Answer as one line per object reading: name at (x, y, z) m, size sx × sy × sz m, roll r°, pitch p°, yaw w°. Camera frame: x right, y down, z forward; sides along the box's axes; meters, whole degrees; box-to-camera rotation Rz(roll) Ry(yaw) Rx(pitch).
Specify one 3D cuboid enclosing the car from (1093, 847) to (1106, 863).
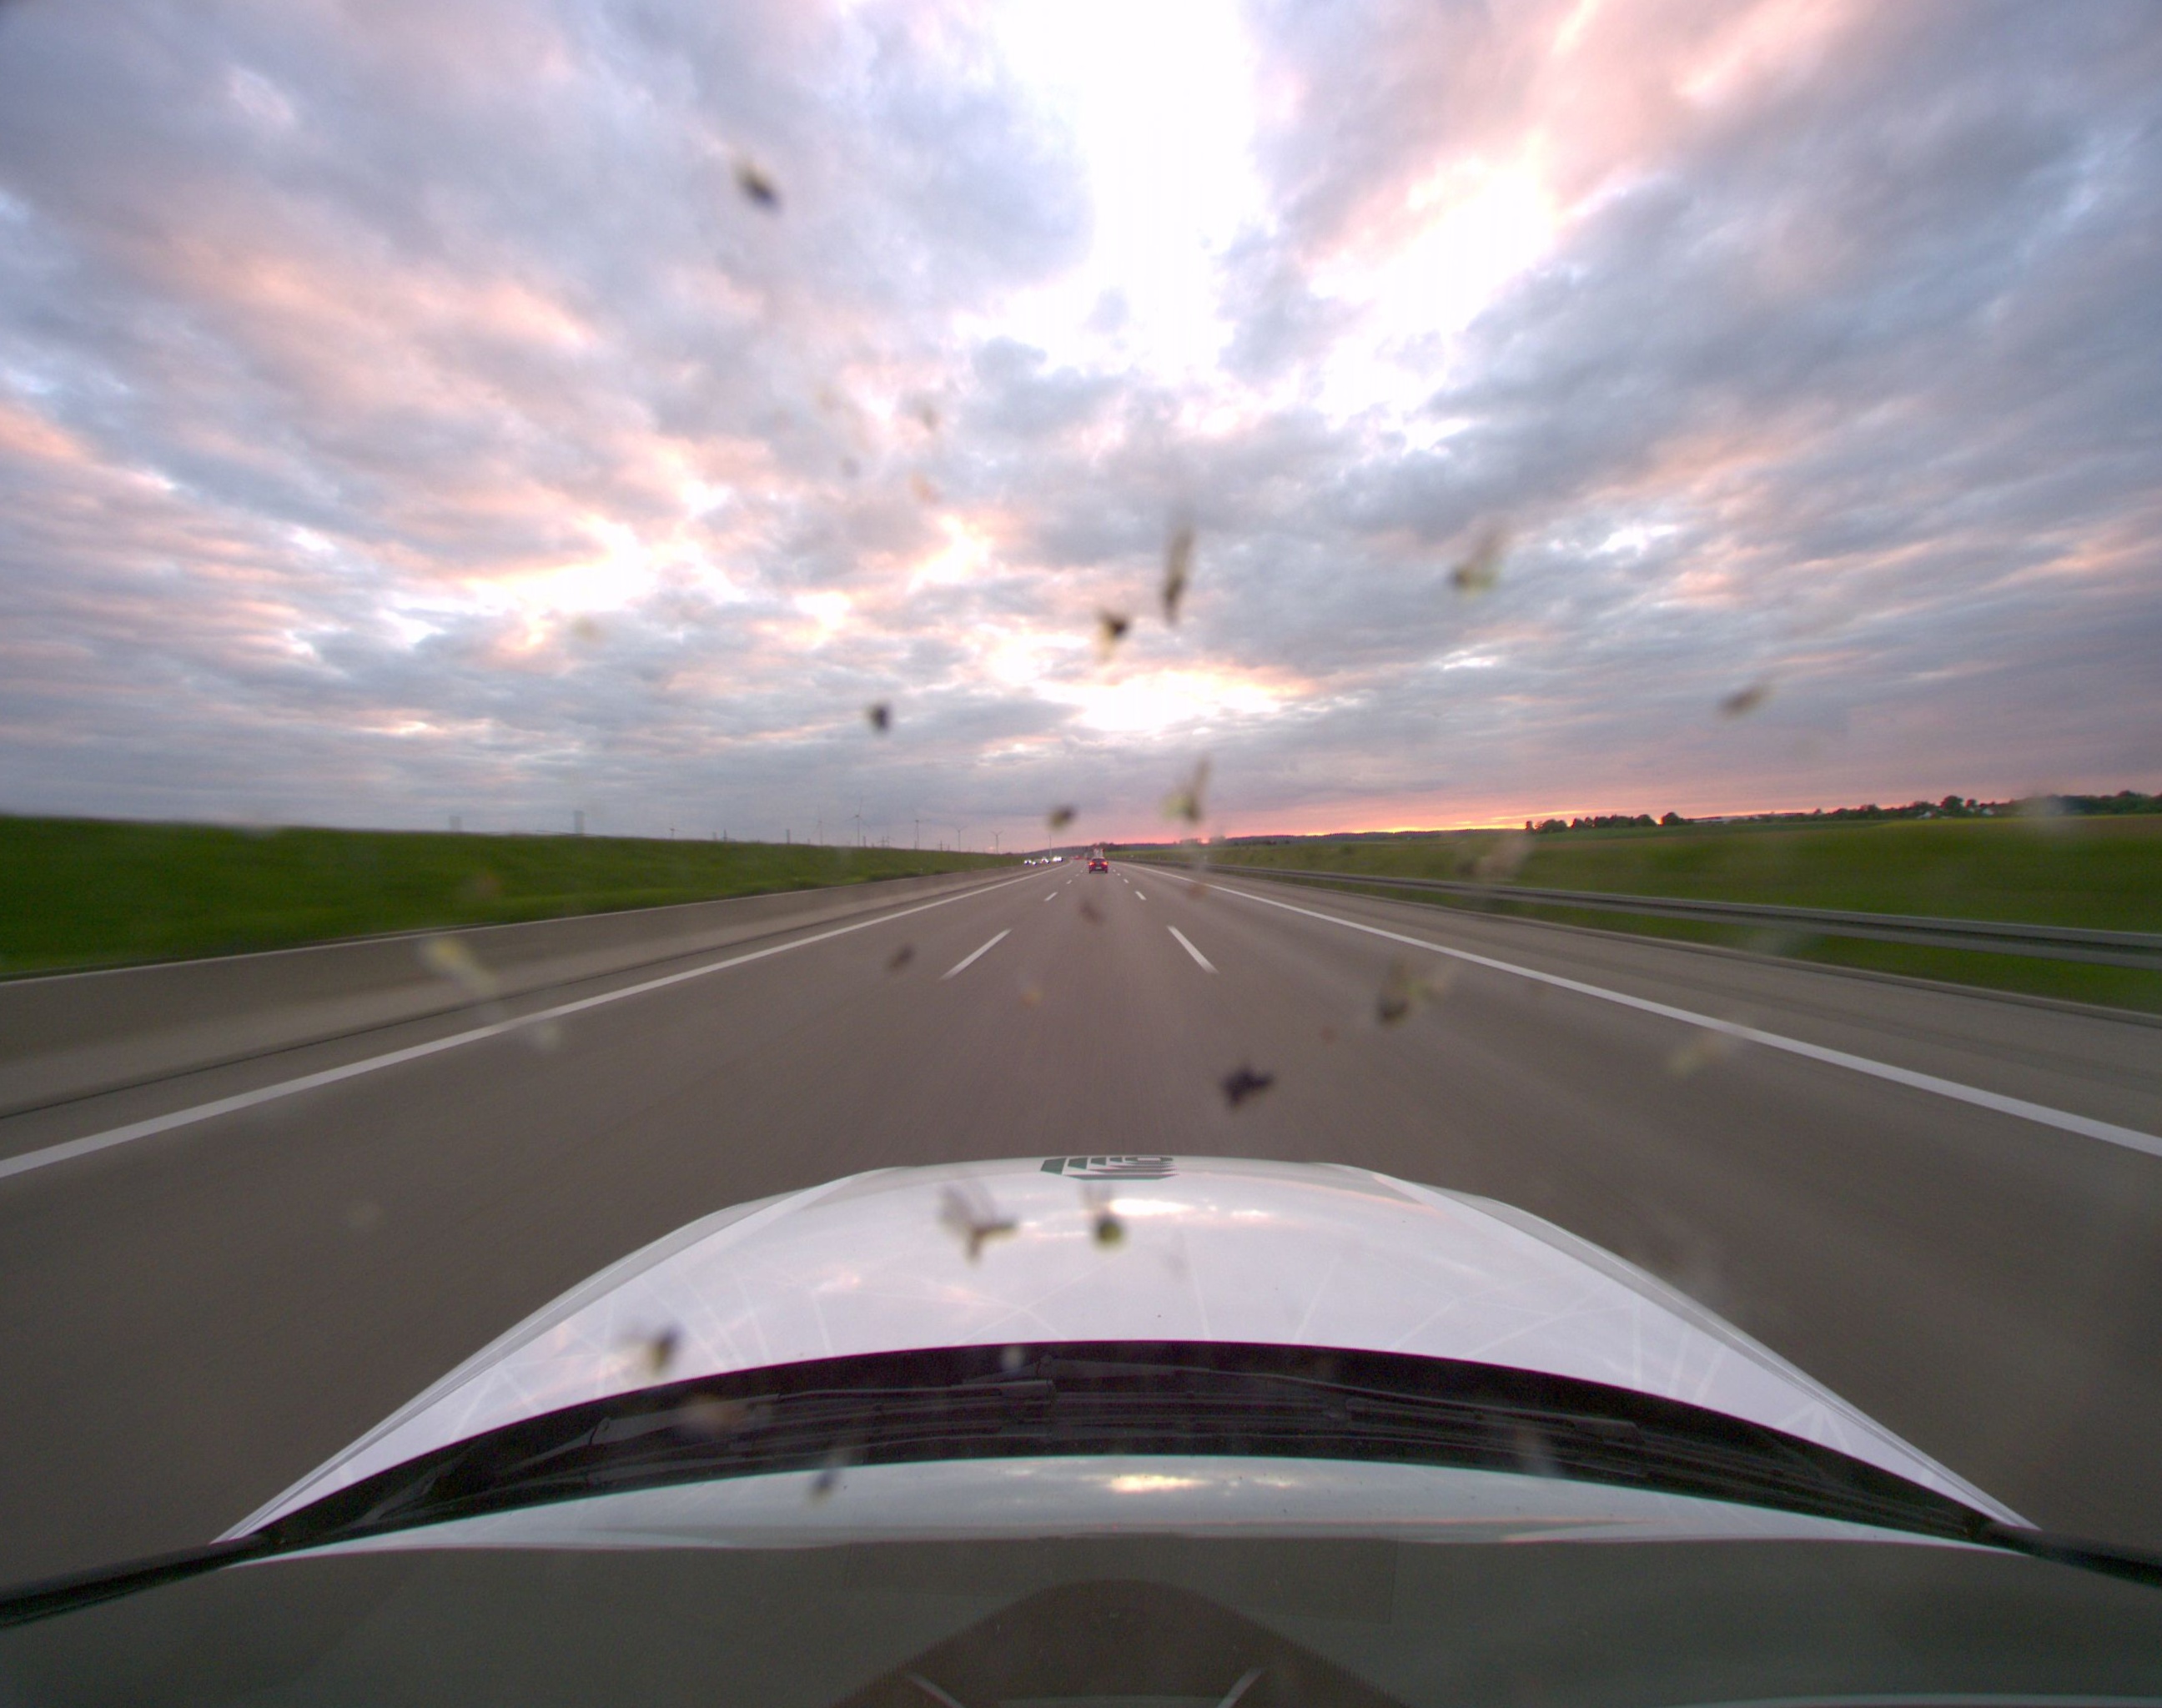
car at (4.660, 0.270, 205.484) m, size 2.925 × 3.648 × 8.599 m, roll -2°, pitch 0°, yaw 1°

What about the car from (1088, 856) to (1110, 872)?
car at (1.678, 0.906, 75.398) m, size 1.980 × 1.430 × 4.001 m, roll -2°, pitch 0°, yaw 1°

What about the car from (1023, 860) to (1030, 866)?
car at (-16.880, 2.792, 251.174) m, size 1.856 × 1.553 × 4.580 m, roll -2°, pitch 0°, yaw -1°
